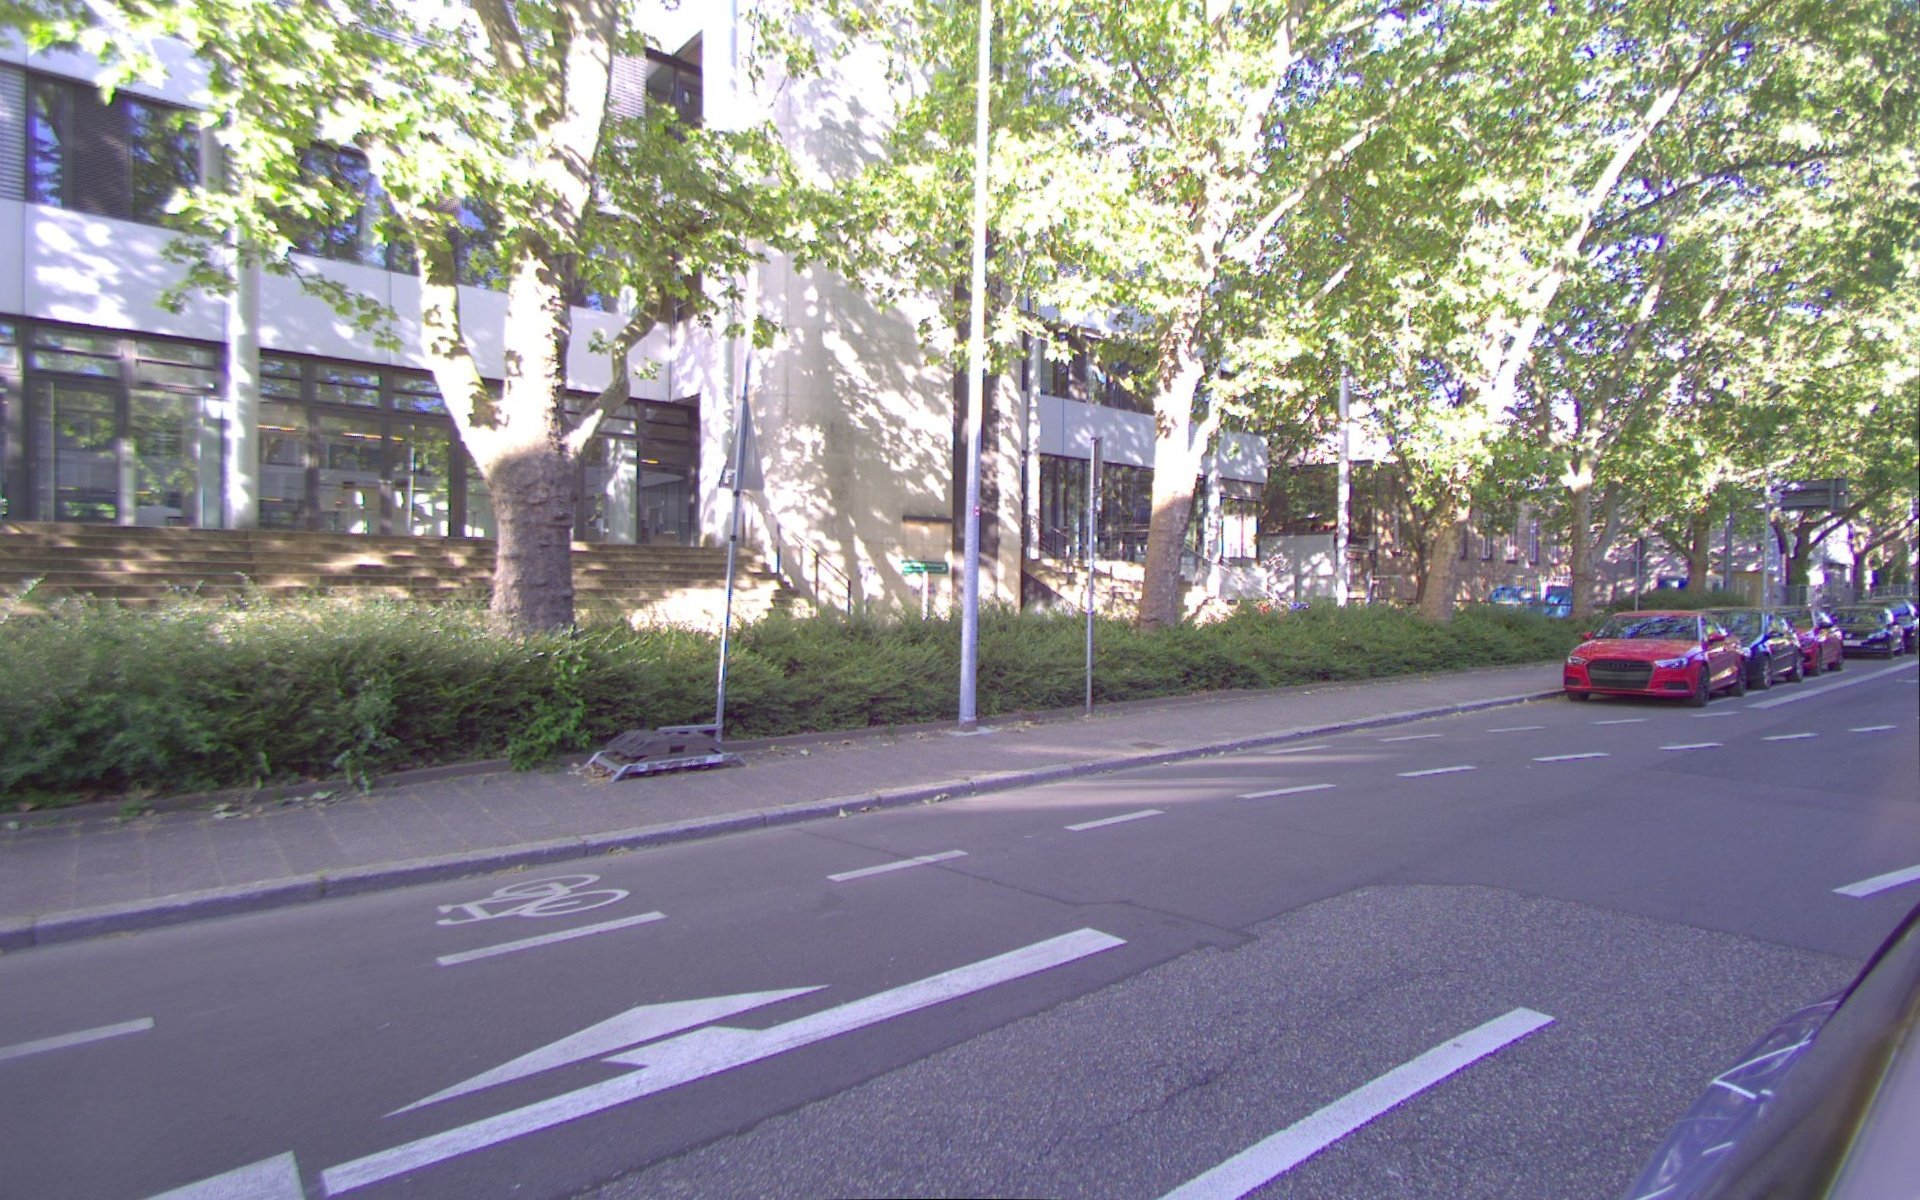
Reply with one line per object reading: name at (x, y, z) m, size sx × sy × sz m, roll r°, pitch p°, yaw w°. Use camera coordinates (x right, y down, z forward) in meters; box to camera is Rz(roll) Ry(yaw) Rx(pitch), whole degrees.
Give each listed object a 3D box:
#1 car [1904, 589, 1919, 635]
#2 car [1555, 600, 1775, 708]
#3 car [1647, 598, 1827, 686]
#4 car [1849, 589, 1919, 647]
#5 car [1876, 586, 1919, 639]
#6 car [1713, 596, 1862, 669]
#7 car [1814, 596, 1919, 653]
car at (38.875, 0.450, 39.966) m, size 4.403 × 1.781 × 1.865 m, roll 0°, pitch 0°, yaw -41°
car at (11.320, 0.743, 16.140) m, size 4.403 × 1.469 × 1.865 m, roll 0°, pitch 0°, yaw -41°
car at (14.768, 0.697, 19.140) m, size 4.403 × 1.469 × 1.865 m, roll 0°, pitch 0°, yaw -41°
car at (29.571, 0.519, 31.806) m, size 4.403 × 1.689 × 1.865 m, roll 0°, pitch 0°, yaw -41°
car at (33.909, 0.401, 35.696) m, size 4.403 × 1.781 × 1.865 m, roll 0°, pitch 0°, yaw -41°
car at (18.436, 0.642, 22.477) m, size 4.403 × 1.469 × 1.865 m, roll 0°, pitch 0°, yaw -41°
car at (25.792, 0.626, 28.611) m, size 4.403 × 1.469 × 1.865 m, roll 0°, pitch 0°, yaw -41°
